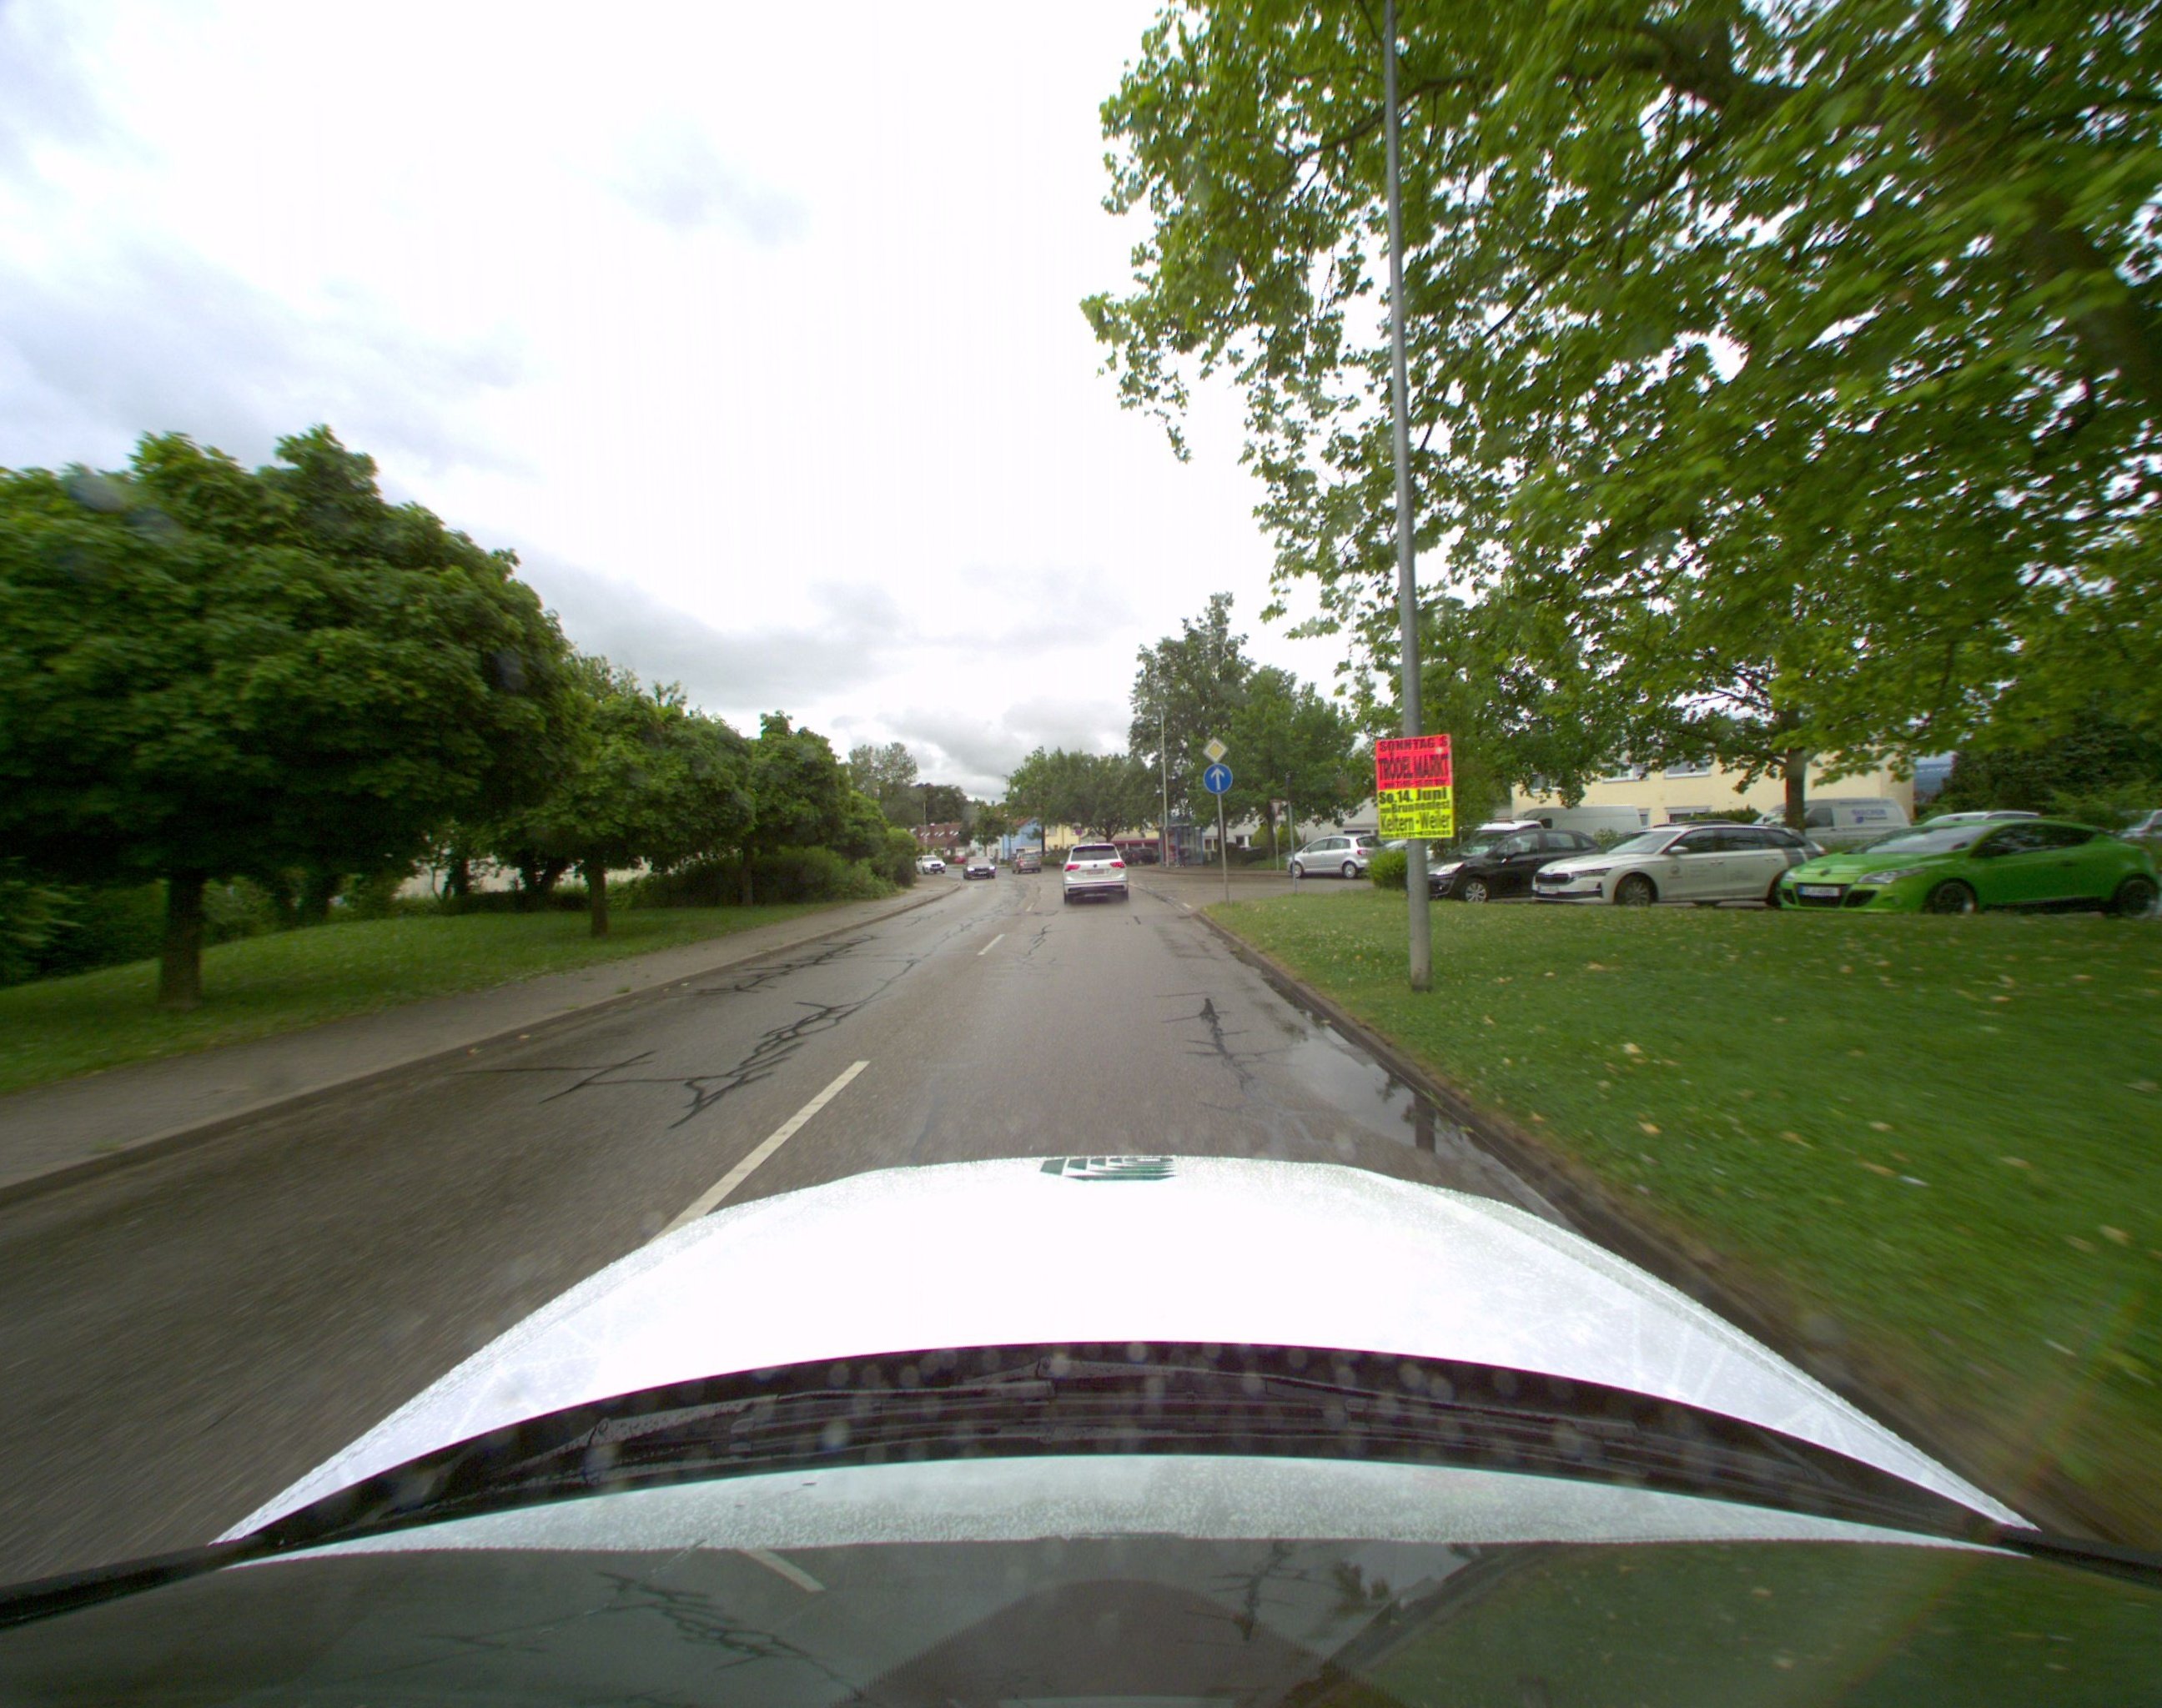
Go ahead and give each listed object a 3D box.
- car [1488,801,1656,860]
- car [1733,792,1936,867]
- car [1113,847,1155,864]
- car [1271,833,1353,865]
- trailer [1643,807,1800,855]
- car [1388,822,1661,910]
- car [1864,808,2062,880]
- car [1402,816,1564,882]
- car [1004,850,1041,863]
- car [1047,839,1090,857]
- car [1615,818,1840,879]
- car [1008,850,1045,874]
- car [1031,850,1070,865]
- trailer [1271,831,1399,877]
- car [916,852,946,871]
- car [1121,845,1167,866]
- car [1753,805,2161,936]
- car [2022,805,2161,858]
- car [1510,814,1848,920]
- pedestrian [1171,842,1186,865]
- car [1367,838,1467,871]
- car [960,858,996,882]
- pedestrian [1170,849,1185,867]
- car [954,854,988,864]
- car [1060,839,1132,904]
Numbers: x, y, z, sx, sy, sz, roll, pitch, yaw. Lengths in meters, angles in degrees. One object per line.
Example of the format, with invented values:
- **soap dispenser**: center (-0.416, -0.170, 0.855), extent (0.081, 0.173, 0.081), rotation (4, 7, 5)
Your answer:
- **car**: center (19.549, -0.922, 32.490), extent (5.820, 2.013, 1.994), rotation (-3, 0, -10)
- **car**: center (23.361, -0.744, 25.348), extent (4.744, 2.013, 1.996), rotation (-3, 0, -6)
- **car**: center (5.121, 0.115, 78.469), extent (3.720, 1.442, 1.688), rotation (-2, 0, -35)
- **car**: center (11.896, -0.253, 42.061), extent (3.646, 1.486, 1.754), rotation (-2, 0, -10)
- **trailer**: center (21.801, -0.759, 27.838), extent (3.972, 1.437, 1.713), rotation (-2, 0, 1)
- **car**: center (8.793, 0.206, 16.348), extent (4.565, 1.442, 1.761), rotation (-3, 0, -5)
- **car**: center (24.903, -0.278, 23.068), extent (3.885, 1.773, 1.821), rotation (-3, 0, -6)
- **car**: center (12.638, -0.128, 25.859), extent (2.006, 1.881, 4.172), rotation (-2, 0, -29)
- **car**: center (-6.897, 0.304, 95.960), extent (4.019, 1.387, 1.656), rotation (-2, 0, -37)
- **car**: center (-1.331, -0.656, 87.815), extent (4.209, 1.671, 1.971), rotation (-2, 0, -33)
- **car**: center (16.289, -0.114, 20.733), extent (1.773, 1.382, 4.142), rotation (-2, 0, -34)
- **car**: center (-3.916, 0.548, 58.068), extent (1.773, 1.551, 3.977), rotation (-2, 0, -17)
- **car**: center (-3.373, 0.407, 90.032), extent (4.215, 1.672, 1.701), rotation (1, -1, -41)
- **trailer**: center (9.580, 0.026, 31.064), extent (2.008, 1.543, 4.380), rotation (-3, 0, -33)
- **car**: center (-13.595, 0.658, 73.688), extent (1.896, 1.611, 4.833), rotation (-2, 0, -19)
- **car**: center (5.875, 0.133, 75.757), extent (4.017, 1.721, 1.903), rotation (-2, 0, -35)
- **car**: center (11.771, 0.186, 11.035), extent (4.003, 1.442, 1.761), rotation (-3, 0, -5)
- **car**: center (25.985, -0.574, 20.431), extent (3.285, 1.230, 1.580), rotation (-2, 0, -8)
- **car**: center (10.003, 0.191, 13.817), extent (4.565, 1.442, 1.761), rotation (-3, 0, -5)
- **pedestrian**: center (5.679, -0.027, 47.266), extent (0.726, 1.250, 0.550), rotation (-2, 0, -8)
- **car**: center (15.406, 0.026, 37.415), extent (4.039, 1.337, 1.724), rotation (-2, 0, -16)
- **car**: center (-6.700, 1.017, 52.657), extent (1.743, 1.414, 4.122), rotation (-2, 0, -14)
- **pedestrian**: center (5.666, 0.242, 48.027), extent (0.748, 1.011, 0.550), rotation (-2, 0, -8)
- **car**: center (-14.773, 0.638, 109.367), extent (4.342, 1.260, 1.659), rotation (-1, 0, -44)
- **car**: center (0.465, 0.448, 23.948), extent (1.858, 1.650, 4.002), rotation (-3, 0, 2)
